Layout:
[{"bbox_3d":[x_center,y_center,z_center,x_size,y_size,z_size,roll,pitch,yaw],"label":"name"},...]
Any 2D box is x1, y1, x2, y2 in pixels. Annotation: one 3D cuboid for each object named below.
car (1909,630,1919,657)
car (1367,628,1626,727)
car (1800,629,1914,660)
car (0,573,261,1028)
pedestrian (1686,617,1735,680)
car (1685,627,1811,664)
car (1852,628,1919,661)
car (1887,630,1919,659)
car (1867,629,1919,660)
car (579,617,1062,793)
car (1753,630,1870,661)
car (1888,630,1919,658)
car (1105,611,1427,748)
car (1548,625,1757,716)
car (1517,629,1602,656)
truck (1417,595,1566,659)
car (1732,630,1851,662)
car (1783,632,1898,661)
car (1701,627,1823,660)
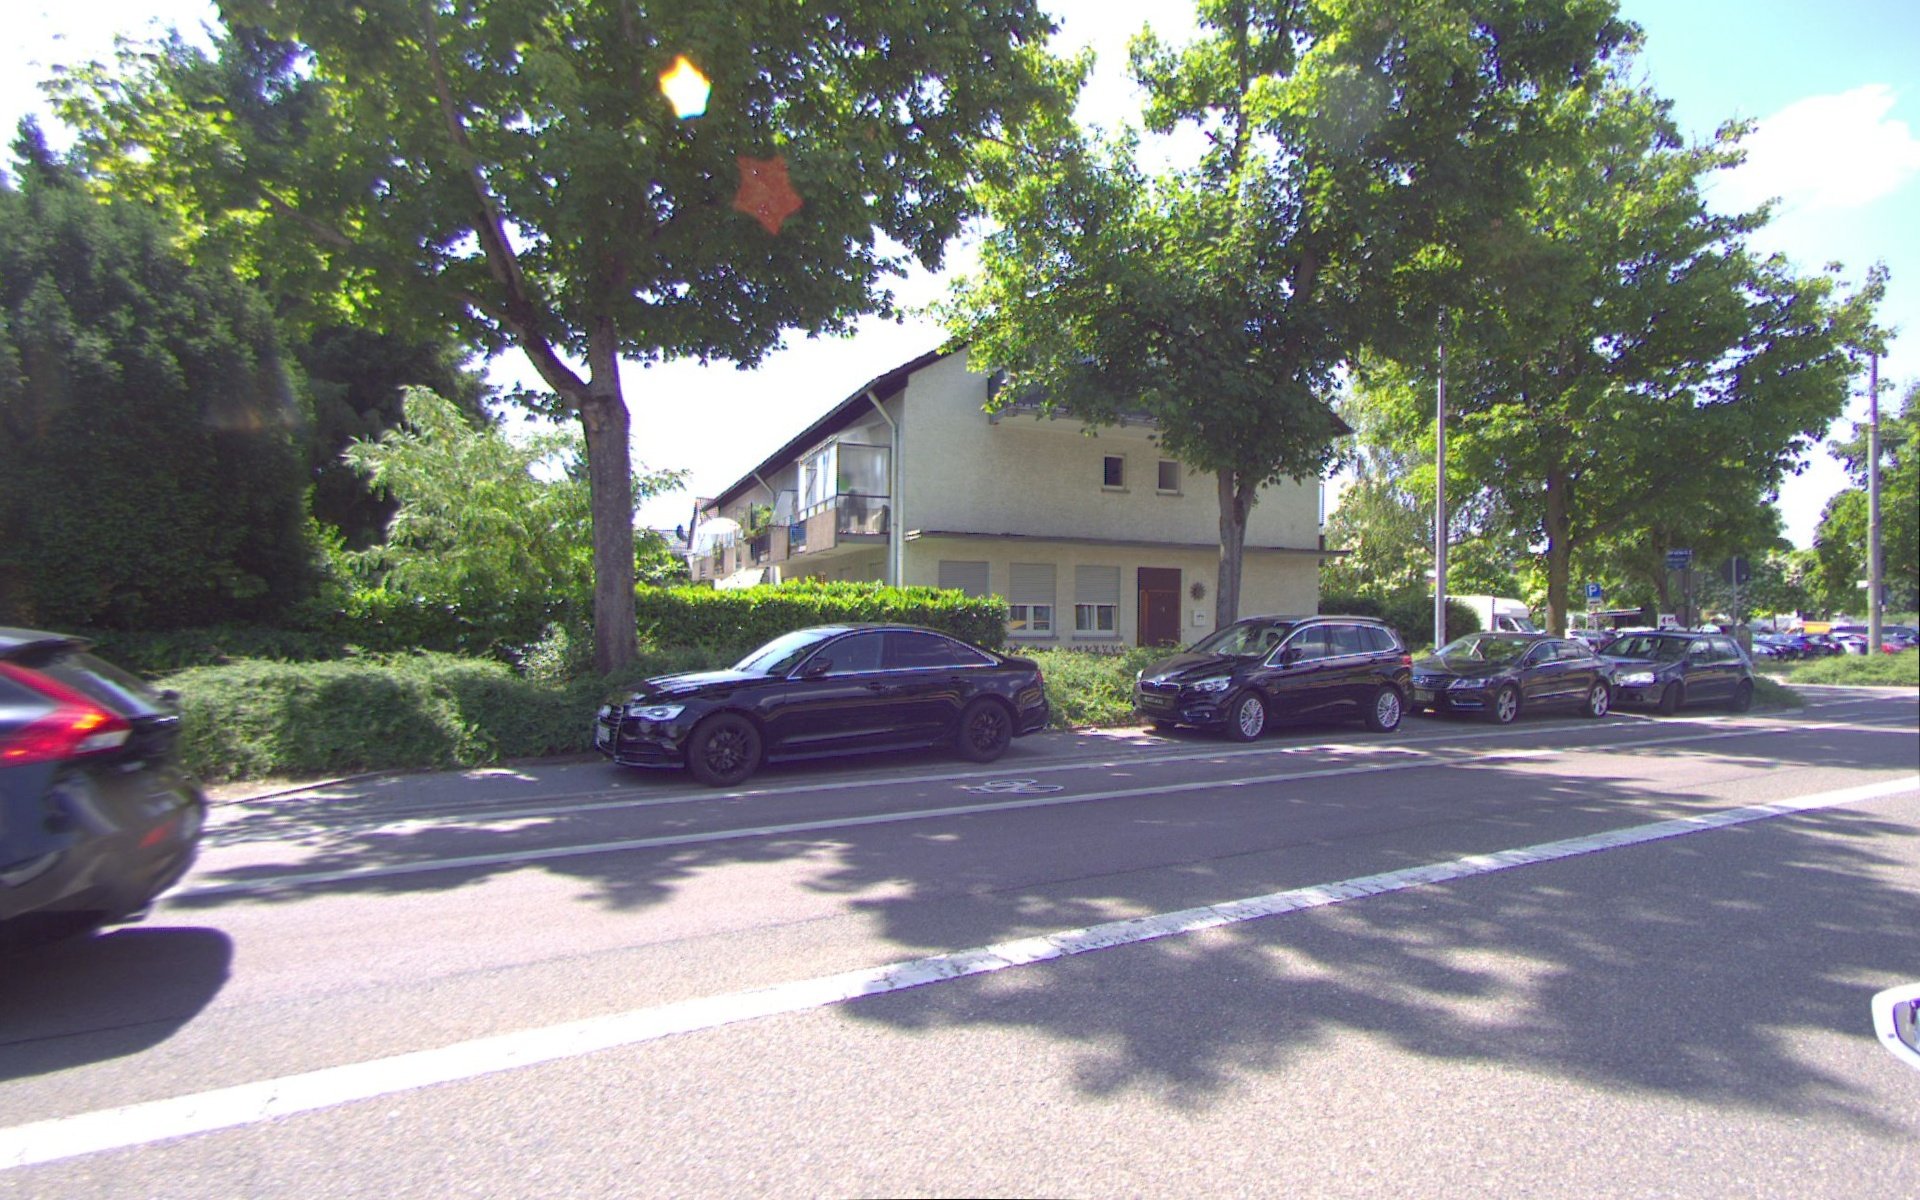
[{"bbox_3d":[58.500,2.589,58.826,1.784,1.628,3.968,1,-1,-30],"label":"car"},{"bbox_3d":[9.154,1.221,17.023,4.644,1.391,1.765,1,1,-32],"label":"car"},{"bbox_3d":[45.349,2.239,50.842,1.784,1.461,3.968,1,-1,-30],"label":"car"},{"bbox_3d":[-4.861,0.653,3.234,4.148,1.479,1.765,1,-2,-32],"label":"car"},{"bbox_3d":[22.392,1.427,29.976,0.786,1.847,0.969,1,-1,-32],"label":"pedestrian"},{"bbox_3d":[34.322,1.948,43.859,1.784,1.461,3.968,1,-1,-30],"label":"car"},{"bbox_3d":[48.667,2.294,51.544,1.784,1.628,3.968,1,-1,-30],"label":"car"},{"bbox_3d":[54.693,2.492,56.097,1.784,1.628,3.968,1,-1,-30],"label":"car"},{"bbox_3d":[51.921,2.401,54.286,1.784,1.628,3.968,1,-1,-30],"label":"car"},{"bbox_3d":[-1.345,0.950,10.586,4.750,1.475,1.765,1,-1,-32],"label":"car"},{"bbox_3d":[41.240,2.185,48.732,1.784,1.357,3.968,1,-1,-30],"label":"car"},{"bbox_3d":[56.312,2.557,57.813,1.784,1.628,3.968,1,-1,-30],"label":"car"},{"bbox_3d":[4.390,1.015,14.164,4.585,1.625,1.765,1,0,-32],"label":"car"},{"bbox_3d":[13.339,1.286,19.308,4.000,1.500,1.766,1,1,-30],"label":"car"},{"bbox_3d":[35.445,2.506,59.454,1.784,1.461,3.968,1,-1,-30],"label":"car"},{"bbox_3d":[29.159,1.443,55.474,2.306,3.270,7.149,1,-1,-31],"label":"truck"},{"bbox_3d":[39.069,2.126,47.274,1.784,1.357,3.968,1,-1,-30],"label":"car"},{"bbox_3d":[43.555,2.273,49.773,1.784,1.357,3.968,1,-1,-30],"label":"car"},{"bbox_3d":[36.185,1.945,45.427,1.784,1.357,3.968,1,-1,-30],"label":"car"}]
